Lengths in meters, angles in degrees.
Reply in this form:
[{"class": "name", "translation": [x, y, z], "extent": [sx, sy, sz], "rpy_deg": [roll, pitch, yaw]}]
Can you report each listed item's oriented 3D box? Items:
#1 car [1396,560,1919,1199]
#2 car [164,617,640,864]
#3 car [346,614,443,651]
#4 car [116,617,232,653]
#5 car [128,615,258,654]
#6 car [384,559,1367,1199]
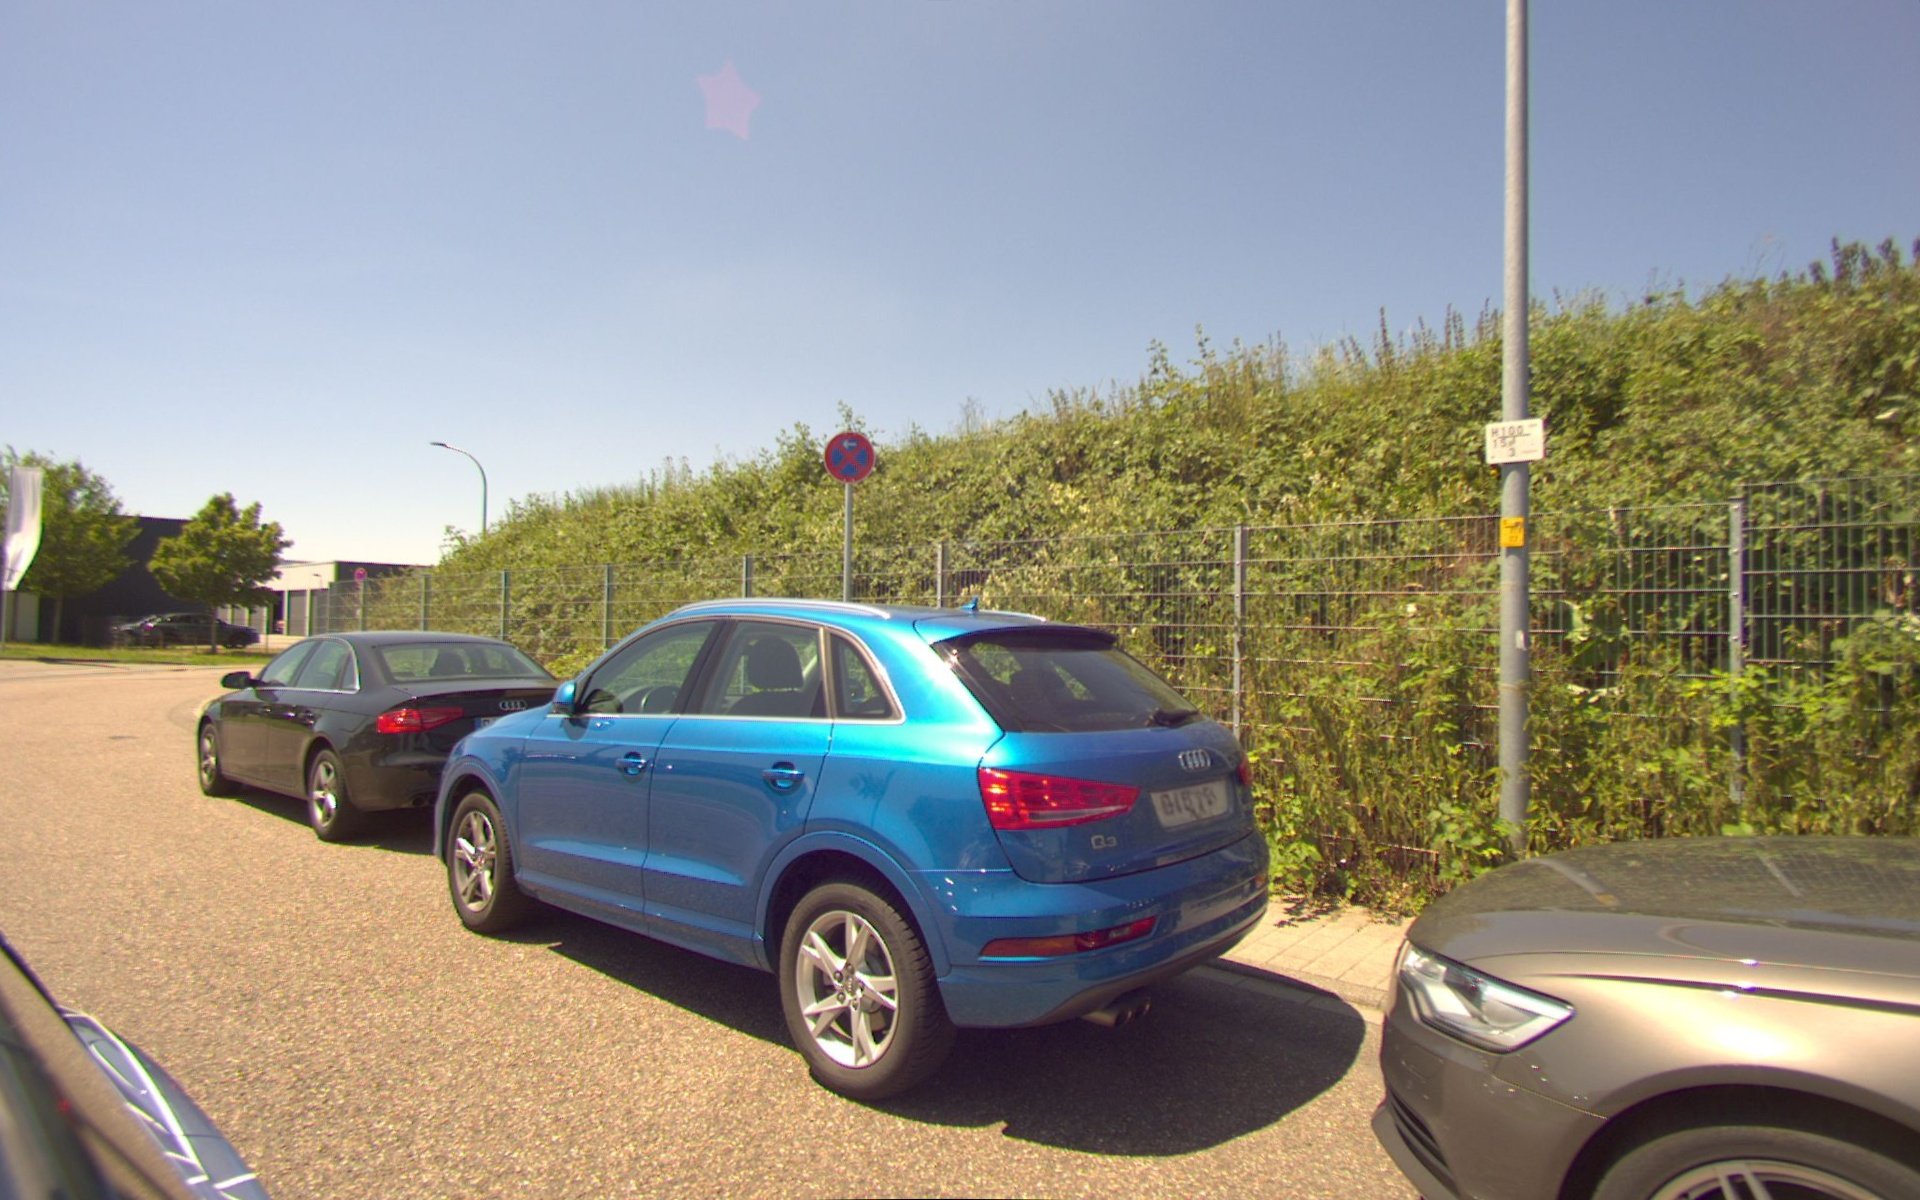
[{"class": "car", "translation": [3.168, 0.715, 1.253], "extent": [4.518, 1.511, 1.805], "rpy_deg": [-1, -3, 41]}, {"class": "car", "translation": [-4.703, 0.907, 8.214], "extent": [4.577, 1.466, 1.806], "rpy_deg": [-1, -3, 40]}, {"class": "car", "translation": [-40.340, 2.273, 72.310], "extent": [2.194, 2.476, 5.604], "rpy_deg": [-2, -1, 39]}, {"class": "car", "translation": [-38.379, 1.733, 49.464], "extent": [1.779, 1.579, 4.116], "rpy_deg": [-1, -5, 39]}, {"class": "car", "translation": [-33.504, 1.481, 44.314], "extent": [1.779, 1.613, 4.226], "rpy_deg": [-1, -2, 39]}, {"class": "car", "translation": [-0.705, 0.758, 4.545], "extent": [4.383, 1.582, 1.806], "rpy_deg": [-1, -3, 40]}]
